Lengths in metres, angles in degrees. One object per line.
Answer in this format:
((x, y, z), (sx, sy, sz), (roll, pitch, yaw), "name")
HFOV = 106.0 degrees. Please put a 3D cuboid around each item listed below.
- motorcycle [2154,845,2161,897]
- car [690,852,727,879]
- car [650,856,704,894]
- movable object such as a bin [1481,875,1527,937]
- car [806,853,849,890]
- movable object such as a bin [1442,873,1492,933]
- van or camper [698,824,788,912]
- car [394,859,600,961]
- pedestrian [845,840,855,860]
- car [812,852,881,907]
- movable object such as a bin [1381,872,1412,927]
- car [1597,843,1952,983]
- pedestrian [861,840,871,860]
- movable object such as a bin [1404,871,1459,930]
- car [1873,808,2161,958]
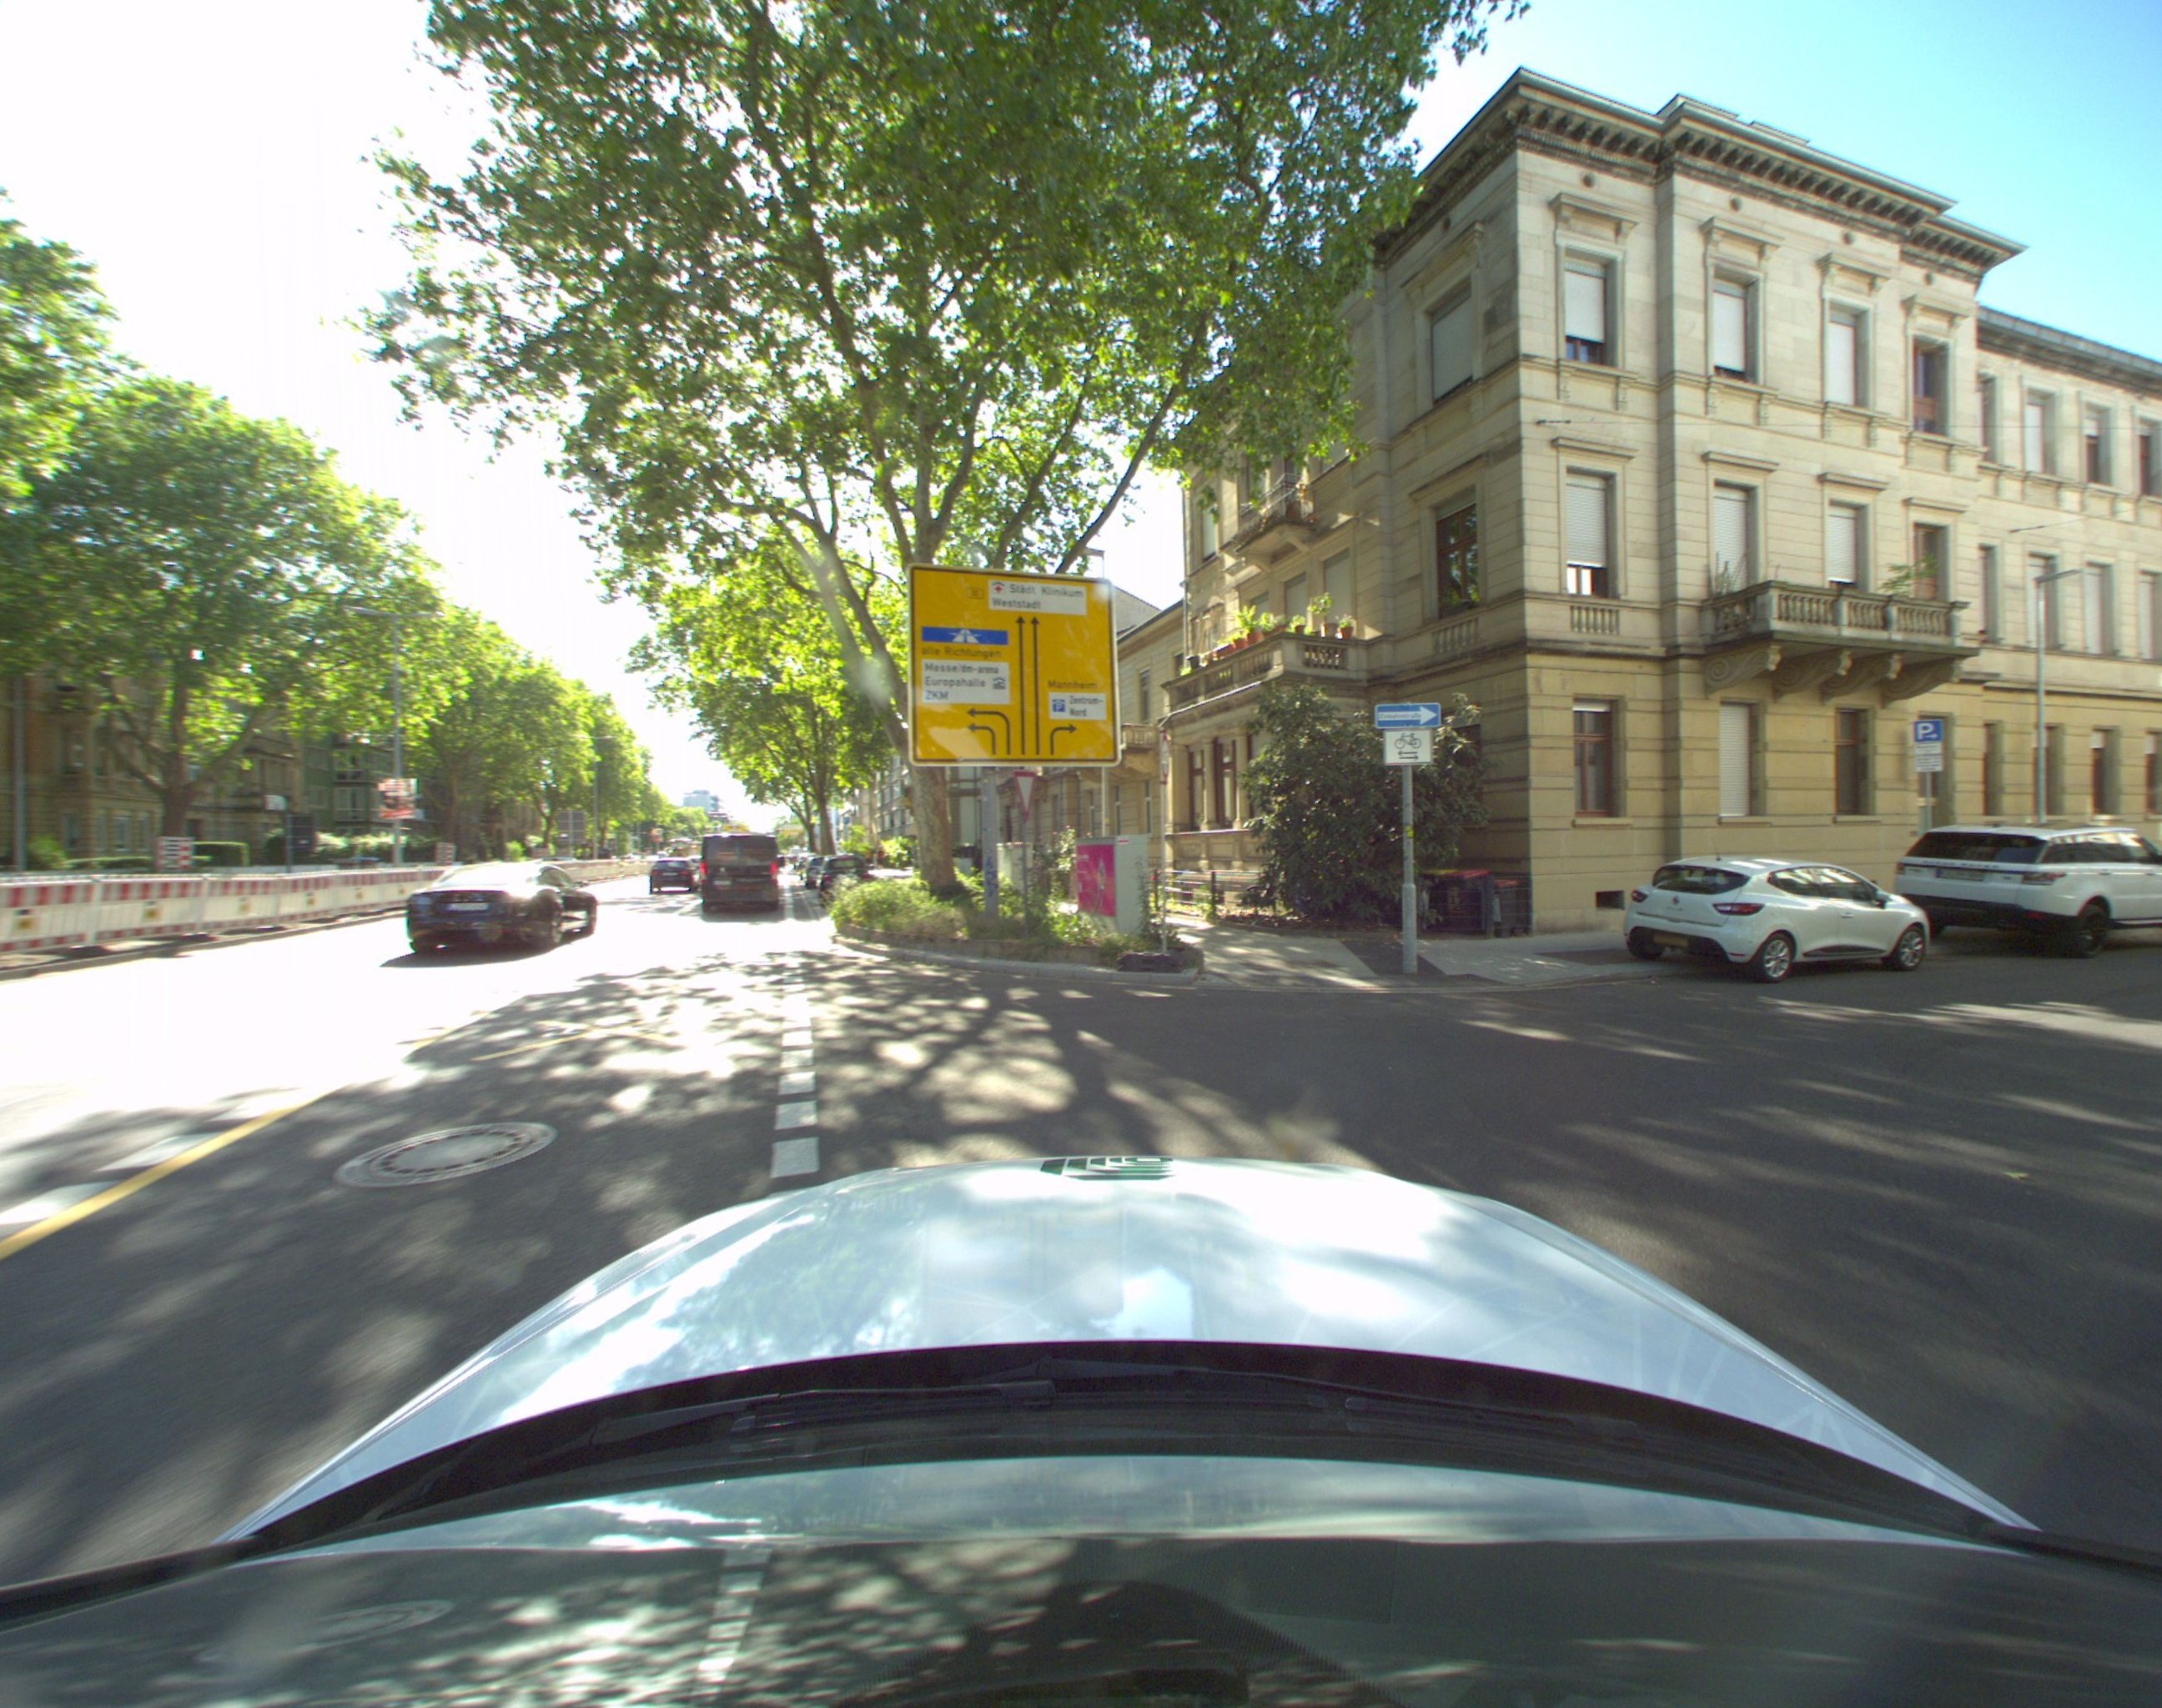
((26.214, 0.366, 19.155), (2.140, 1.199, 0.426), (-2, 0, -16), "motorcycle")
((-21.303, 0.641, 46.697), (1.625, 1.486, 3.708), (0, 0, -20), "car")
((-16.979, 0.835, 34.330), (1.625, 1.486, 3.708), (0, 0, -20), "car")
((6.916, 0.845, 13.313), (0.520, 0.970, 0.396), (-1, 0, -18), "movable object such as a bin")
((-11.736, 0.754, 37.613), (1.778, 1.568, 3.975), (-2, 0, -18), "car")
((6.551, 0.817, 13.844), (0.520, 0.970, 0.544), (-1, 0, -18), "movable object such as a bin")
((-9.995, 0.377, 24.258), (2.254, 2.346, 4.505), (0, 0, -21), "van or camper")
((-10.103, 0.845, 14.513), (1.844, 1.483, 4.446), (0, 0, -20), "car")
((-27.822, -0.499, 98.130), (1.060, 2.346, 0.811), (0, -1, -18), "pedestrian")
((-7.508, 0.755, 25.866), (1.779, 1.568, 3.973), (-2, 0, -20), "car")
((5.730, 0.819, 14.774), (0.344, 0.970, 0.380), (-1, 0, -18), "movable object such as a bin")
((9.192, 0.656, 10.864), (3.941, 1.561, 1.861), (0, 2, -19), "car")
((-25.820, -0.500, 97.796), (1.060, 2.346, 0.811), (0, -1, -18), "pedestrian")
((6.162, 0.807, 14.343), (0.689, 0.970, 0.544), (-1, 0, -18), "movable object such as a bin")
((14.972, 0.352, 12.560), (4.539, 2.013, 2.017), (-1, 0, -17), "car")
